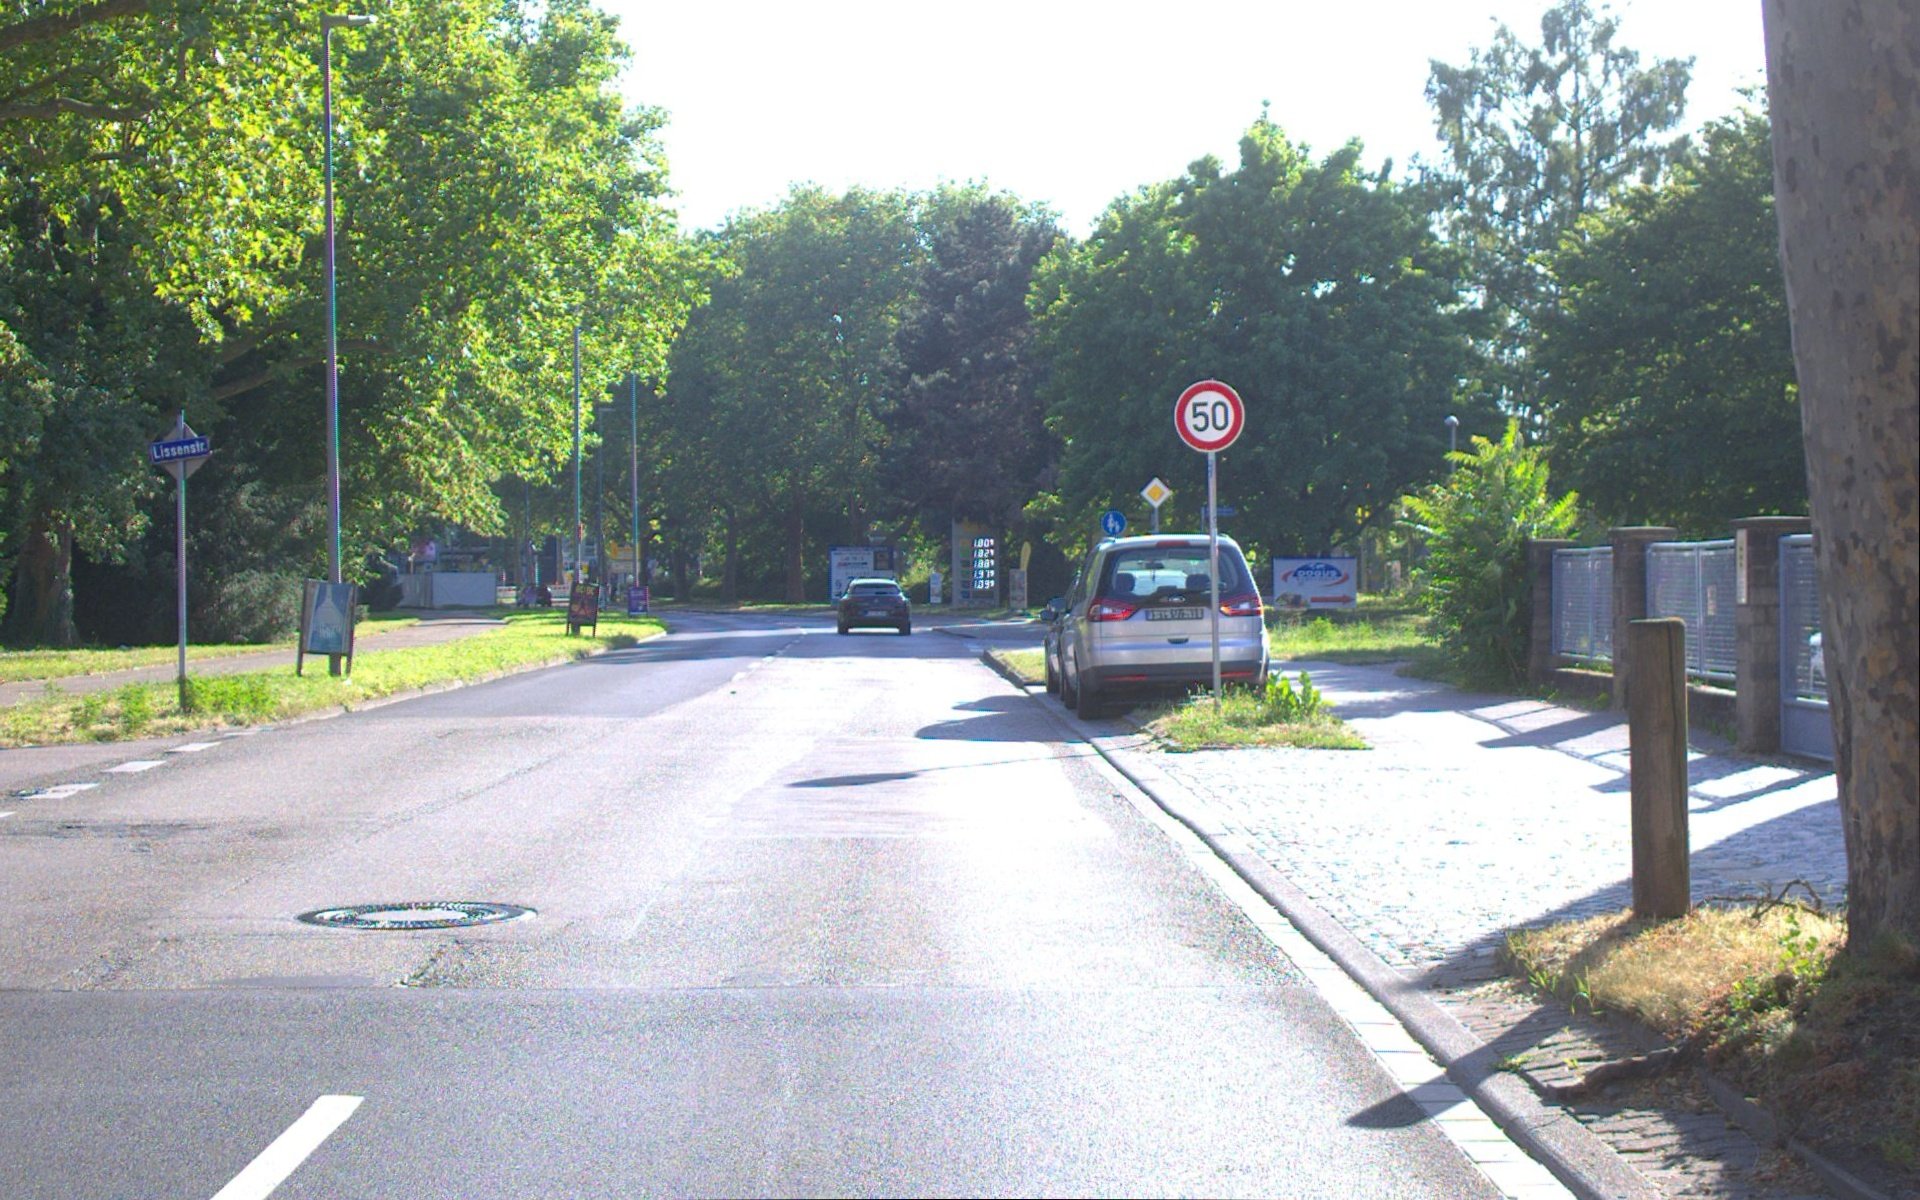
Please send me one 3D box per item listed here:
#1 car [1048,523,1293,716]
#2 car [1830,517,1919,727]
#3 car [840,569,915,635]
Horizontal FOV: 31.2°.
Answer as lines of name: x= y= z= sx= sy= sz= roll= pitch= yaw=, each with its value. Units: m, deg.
car: x=2.012 y=0.143 z=34.212 sx=1.993 sy=1.753 sz=4.918 roll=-1 pitch=1 yaw=-1
car: x=8.919 y=0.123 z=26.422 sx=3.987 sy=1.554 sz=1.841 roll=-1 pitch=1 yaw=1
car: x=-2.083 y=0.031 z=87.429 sx=1.839 sy=1.600 sz=3.863 roll=-1 pitch=1 yaw=-1
